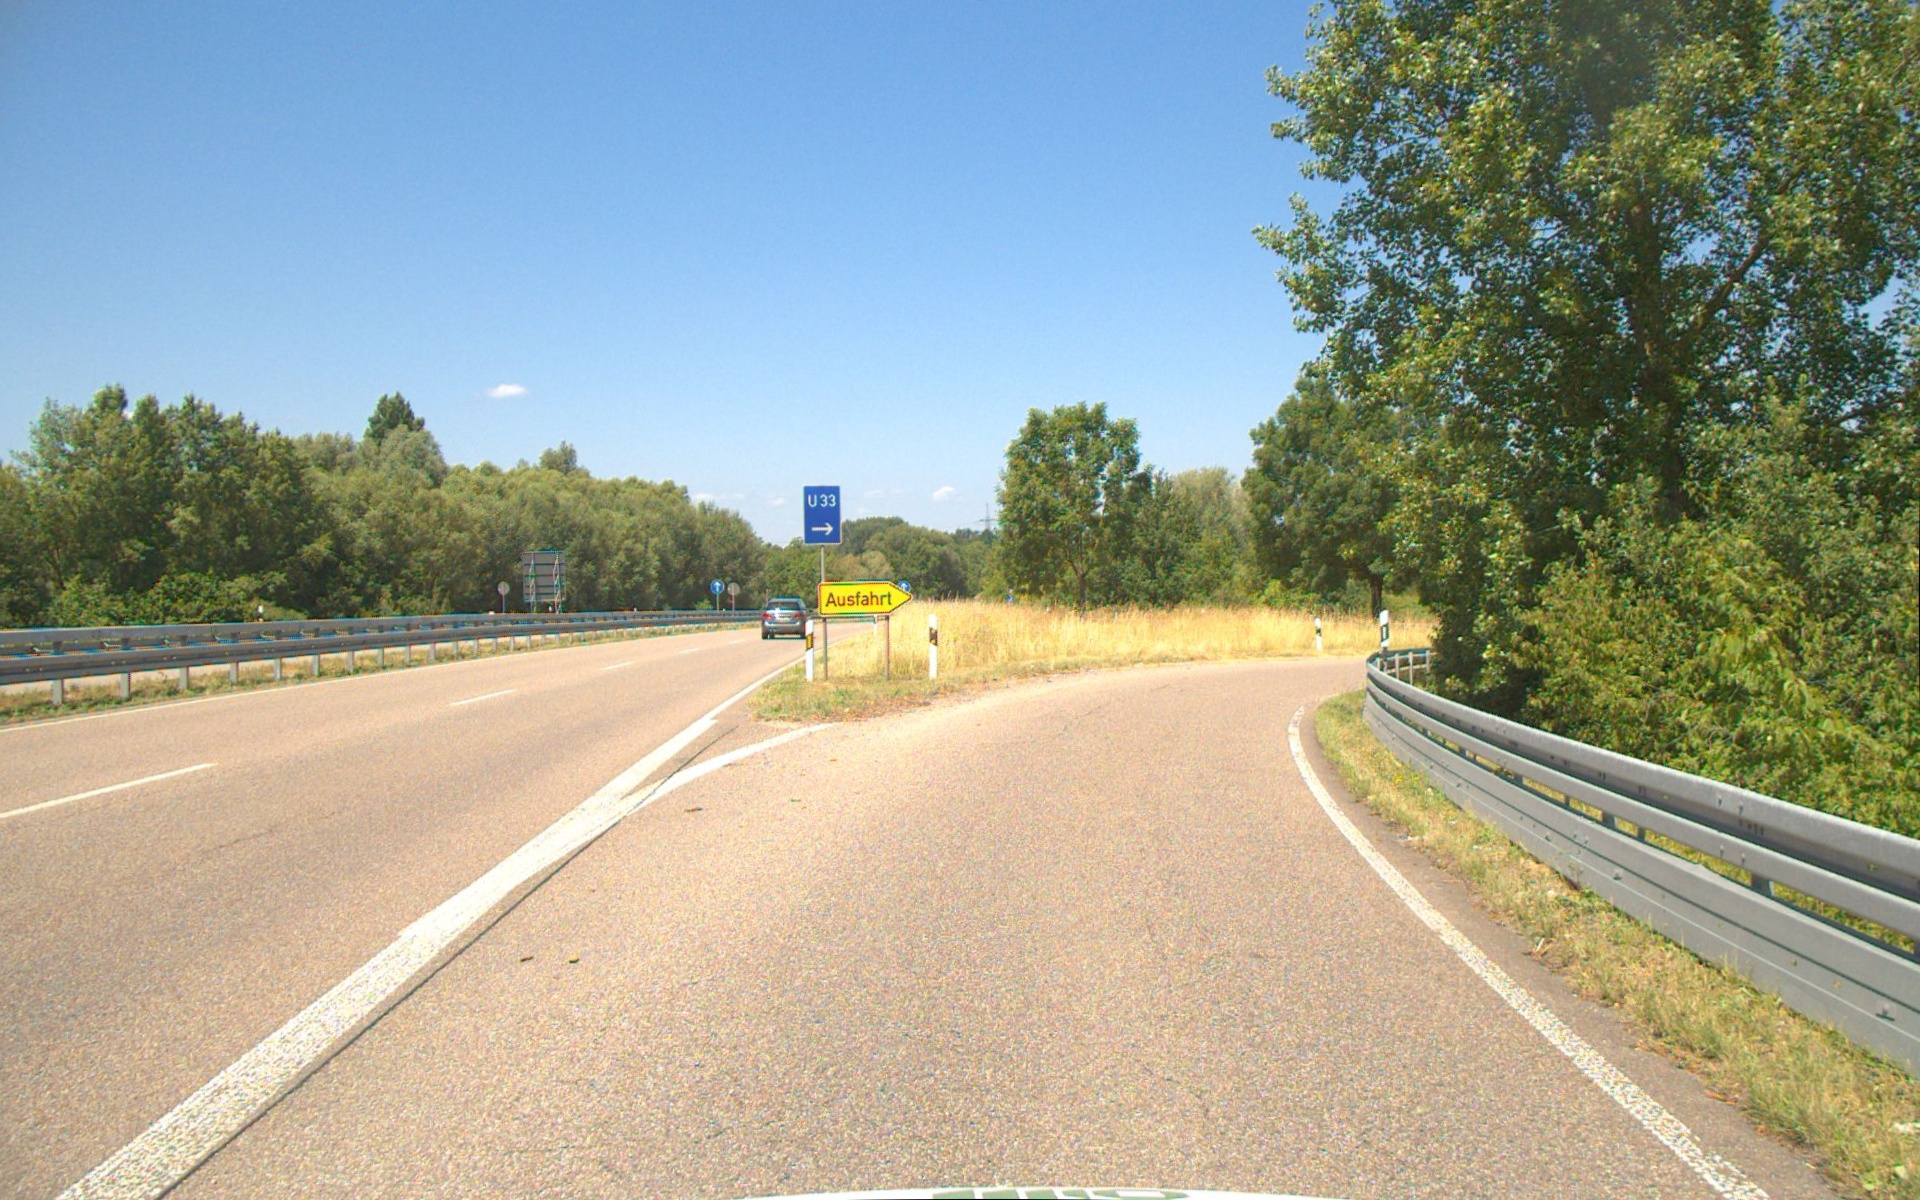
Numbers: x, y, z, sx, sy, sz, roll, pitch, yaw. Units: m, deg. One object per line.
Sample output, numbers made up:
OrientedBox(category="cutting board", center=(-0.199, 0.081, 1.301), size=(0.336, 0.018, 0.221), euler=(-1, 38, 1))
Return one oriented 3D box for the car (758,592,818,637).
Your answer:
OrientedBox(category="car", center=(-6.821, 0.566, 65.853), size=(1.994, 1.702, 3.999), euler=(1, 0, -1))
